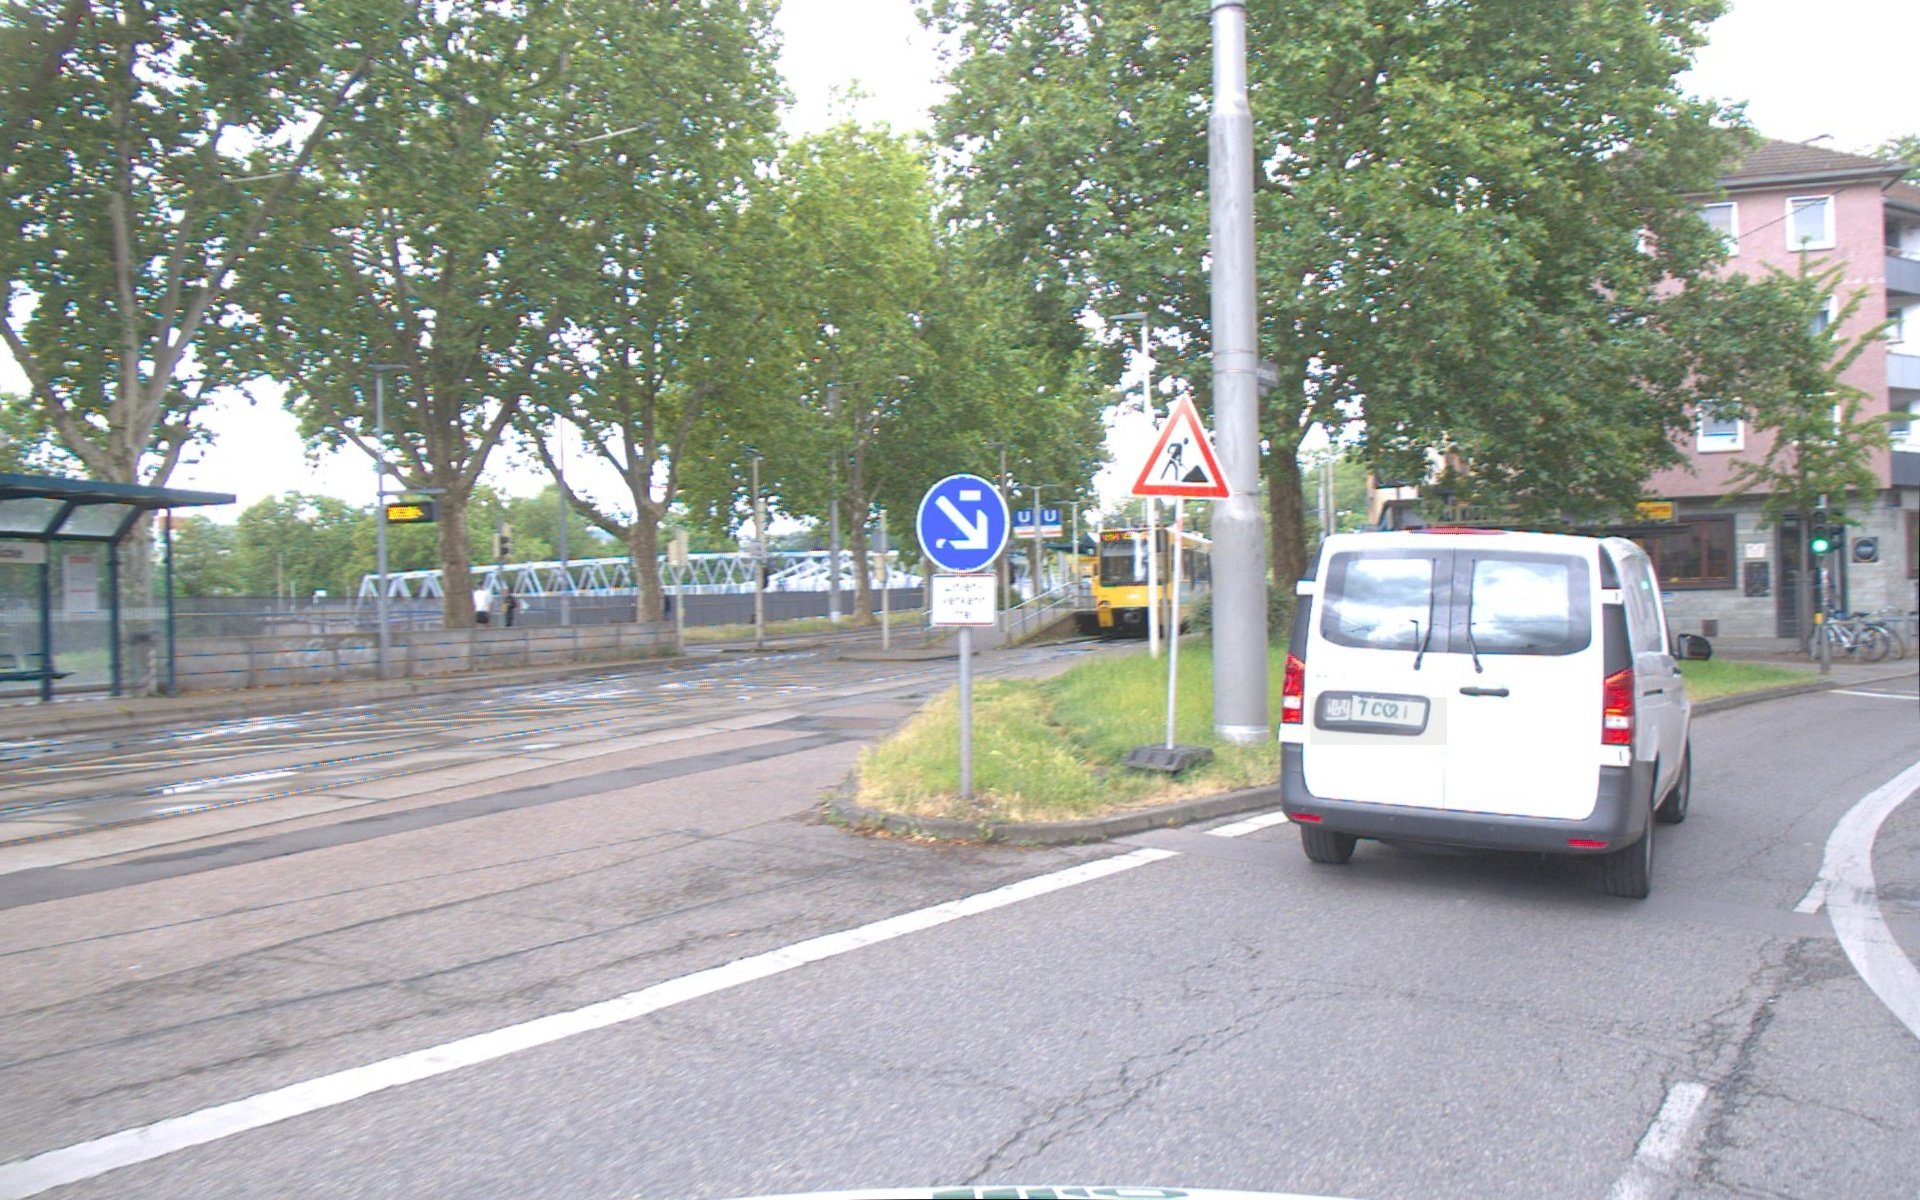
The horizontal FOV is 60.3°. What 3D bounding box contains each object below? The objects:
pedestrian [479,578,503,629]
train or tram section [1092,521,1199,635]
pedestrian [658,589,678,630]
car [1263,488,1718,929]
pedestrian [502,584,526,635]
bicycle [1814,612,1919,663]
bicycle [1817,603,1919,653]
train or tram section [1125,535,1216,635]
[{"bbox_3d":[-13.881,0.114,48.970,0.461,1.476,0.511,-2,-2,11],"label":"pedestrian"},{"bbox_3d":[6.368,-0.613,55.757,2.524,3.511,7.762,-2,-2,13],"label":"train or tram section"},{"bbox_3d":[-11.010,0.360,62.370,0.532,1.524,0.644,-2,-2,11],"label":"pedestrian"},{"bbox_3d":[3.501,0.535,10.228,1.913,2.049,4.691,0,-1,28],"label":"car"},{"bbox_3d":[-13.145,0.287,48.773,0.461,1.476,0.511,-2,-2,11],"label":"pedestrian"},{"bbox_3d":[19.044,0.772,34.716,1.958,1.053,0.562,0,-1,27],"label":"bicycle"},{"bbox_3d":[19.653,0.604,35.802,1.958,1.053,0.562,0,-1,27],"label":"bicycle"},{"bbox_3d":[8.168,-0.473,63.318,2.524,3.511,7.762,-2,-2,13],"label":"train or tram section"}]
